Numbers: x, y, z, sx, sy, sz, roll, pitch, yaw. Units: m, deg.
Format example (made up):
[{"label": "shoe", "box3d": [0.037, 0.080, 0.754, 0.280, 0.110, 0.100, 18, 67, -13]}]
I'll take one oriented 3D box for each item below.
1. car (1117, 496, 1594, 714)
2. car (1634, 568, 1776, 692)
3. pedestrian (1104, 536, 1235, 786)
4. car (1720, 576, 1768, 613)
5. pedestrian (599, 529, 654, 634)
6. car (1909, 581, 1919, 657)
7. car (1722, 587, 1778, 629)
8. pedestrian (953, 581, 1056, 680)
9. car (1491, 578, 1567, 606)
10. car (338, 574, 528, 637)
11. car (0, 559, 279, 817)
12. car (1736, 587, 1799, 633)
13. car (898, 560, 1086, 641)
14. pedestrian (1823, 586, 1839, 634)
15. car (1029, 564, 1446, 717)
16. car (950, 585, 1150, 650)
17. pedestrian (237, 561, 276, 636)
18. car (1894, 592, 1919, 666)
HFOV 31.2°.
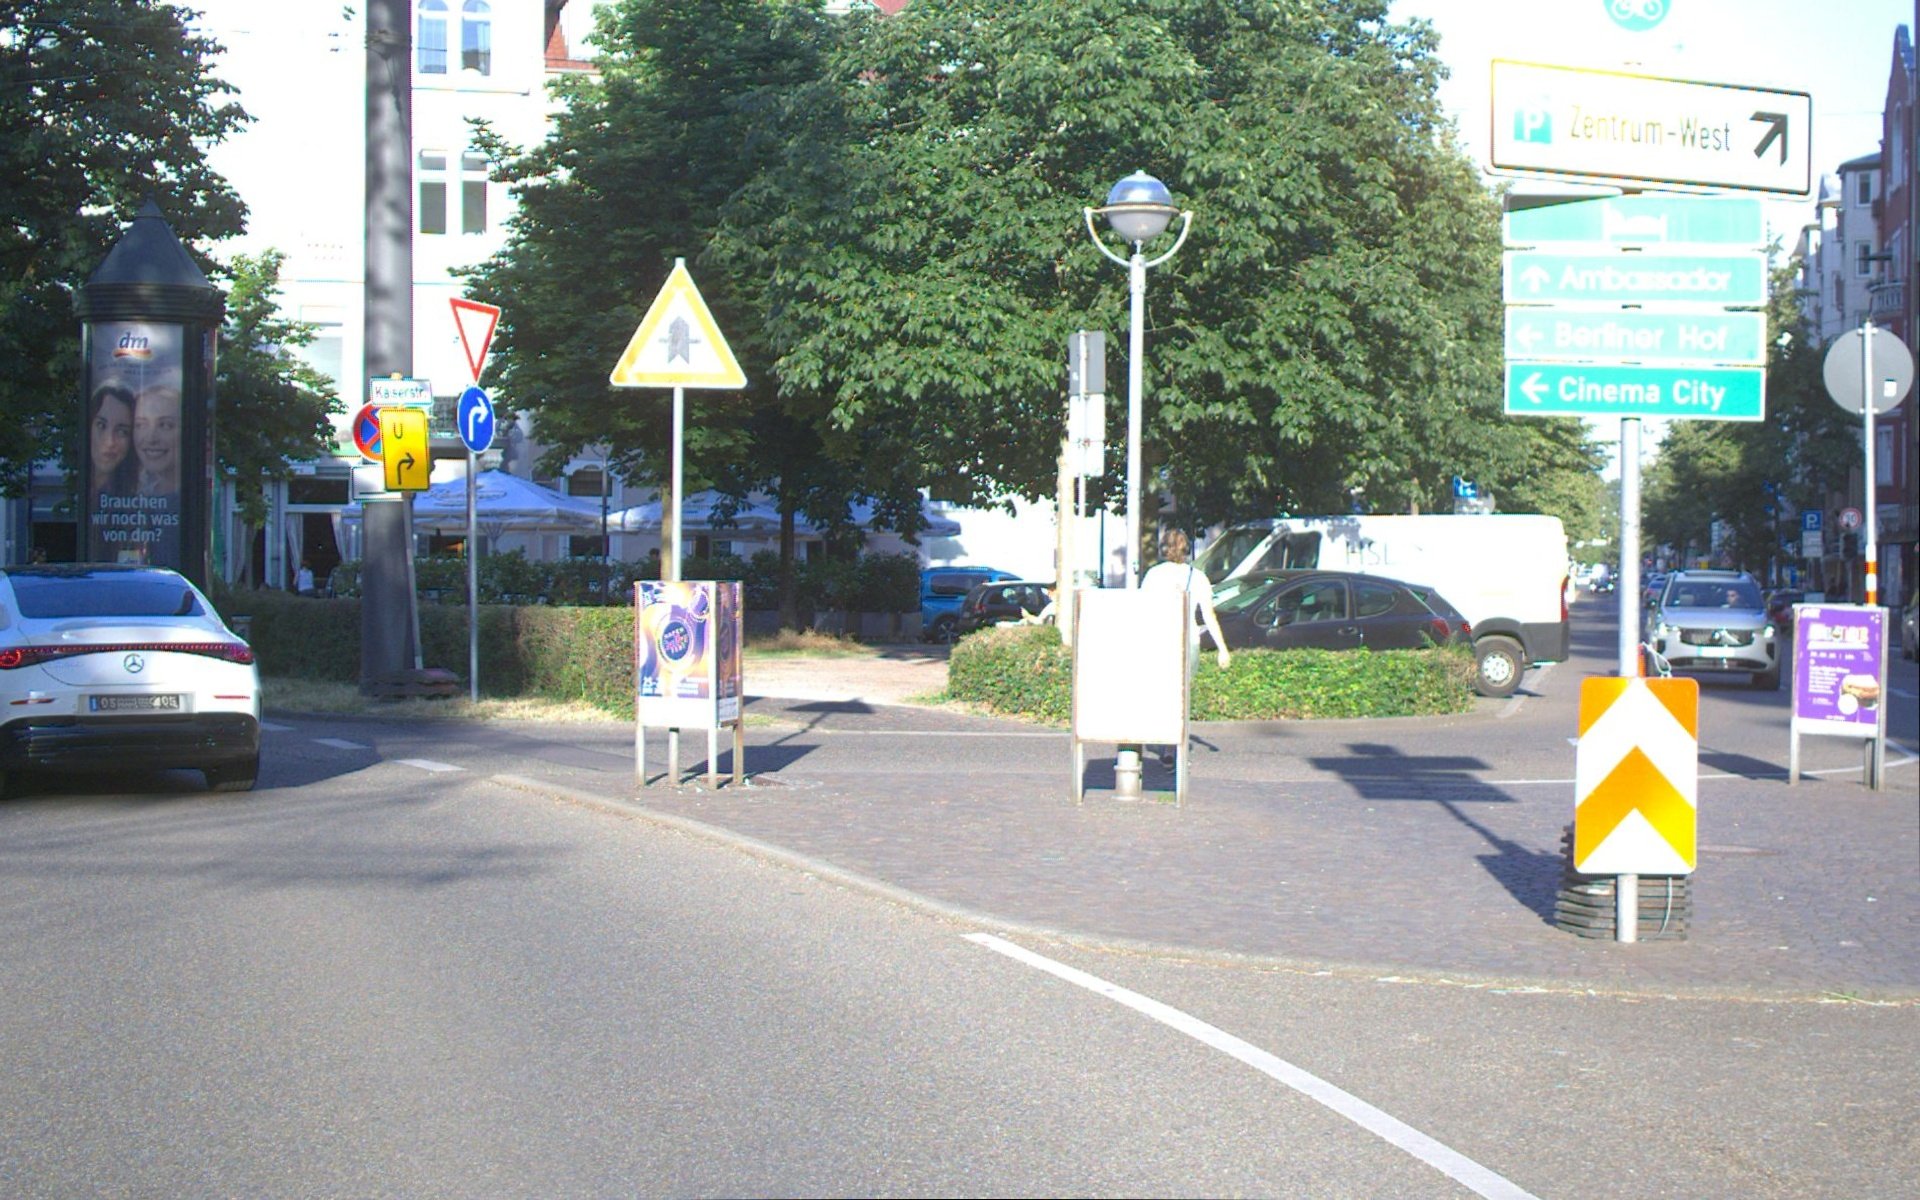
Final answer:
[{"label": "car", "box3d": [4.956, 0.075, 43.250, 5.509, 2.586, 2.155, 1, 0, -16]}, {"label": "car", "box3d": [11.363, 0.426, 52.633, 1.994, 1.766, 3.998, 1, 1, 11]}, {"label": "pedestrian", "box3d": [1.479, 0.420, 24.206, 0.859, 1.700, 0.941, 2, 0, 4]}, {"label": "car", "box3d": [33.238, -0.242, 145.840, 1.752, 1.505, 3.544, -1, 0, 9]}, {"label": "pedestrian", "box3d": [-6.176, -0.347, 63.698, 0.933, 1.917, 0.857, 1, 0, -3]}, {"label": "car", "box3d": [19.752, 0.365, 67.495, 1.752, 1.505, 3.544, -1, 0, 9]}, {"label": "car", "box3d": [28.955, 0.271, 126.113, 1.752, 1.505, 3.544, -1, 0, 9]}, {"label": "pedestrian", "box3d": [0.577, 0.393, 44.502, 1.097, 1.222, 0.860, 2, 0, -15]}, {"label": "car", "box3d": [28.162, -0.415, 170.290, 3.377, 1.283, 1.673, 2, 1, -5]}, {"label": "car", "box3d": [-11.531, 0.115, 75.143, 3.986, 1.297, 1.853, 1, 0, -12]}, {"label": "car", "box3d": [-5.810, 0.492, 22.323, 1.864, 1.436, 4.198, -1, 2, -23]}, {"label": "car", "box3d": [26.729, 0.319, 113.817, 1.752, 1.505, 3.544, -1, 0, 9]}, {"label": "car", "box3d": [0.729, 0.010, 79.523, 3.986, 1.776, 1.853, 1, 0, -12]}, {"label": "pedestrian", "box3d": [34.991, 0.388, 138.140, 0.531, 1.917, 0.541, 1, 0, 9]}, {"label": "car", "box3d": [2.950, 0.429, 36.623, 3.986, 1.547, 1.879, 1, 0, -22]}, {"label": "car", "box3d": [1.934, 0.373, 74.358, 3.986, 1.297, 1.853, 1, 0, -12]}, {"label": "pedestrian", "box3d": [-17.546, -0.043, 85.761, 0.854, 1.860, 0.936, 1, 0, -16]}, {"label": "car", "box3d": [20.524, 0.575, 71.429, 1.752, 1.505, 3.544, -1, 0, 9]}]
